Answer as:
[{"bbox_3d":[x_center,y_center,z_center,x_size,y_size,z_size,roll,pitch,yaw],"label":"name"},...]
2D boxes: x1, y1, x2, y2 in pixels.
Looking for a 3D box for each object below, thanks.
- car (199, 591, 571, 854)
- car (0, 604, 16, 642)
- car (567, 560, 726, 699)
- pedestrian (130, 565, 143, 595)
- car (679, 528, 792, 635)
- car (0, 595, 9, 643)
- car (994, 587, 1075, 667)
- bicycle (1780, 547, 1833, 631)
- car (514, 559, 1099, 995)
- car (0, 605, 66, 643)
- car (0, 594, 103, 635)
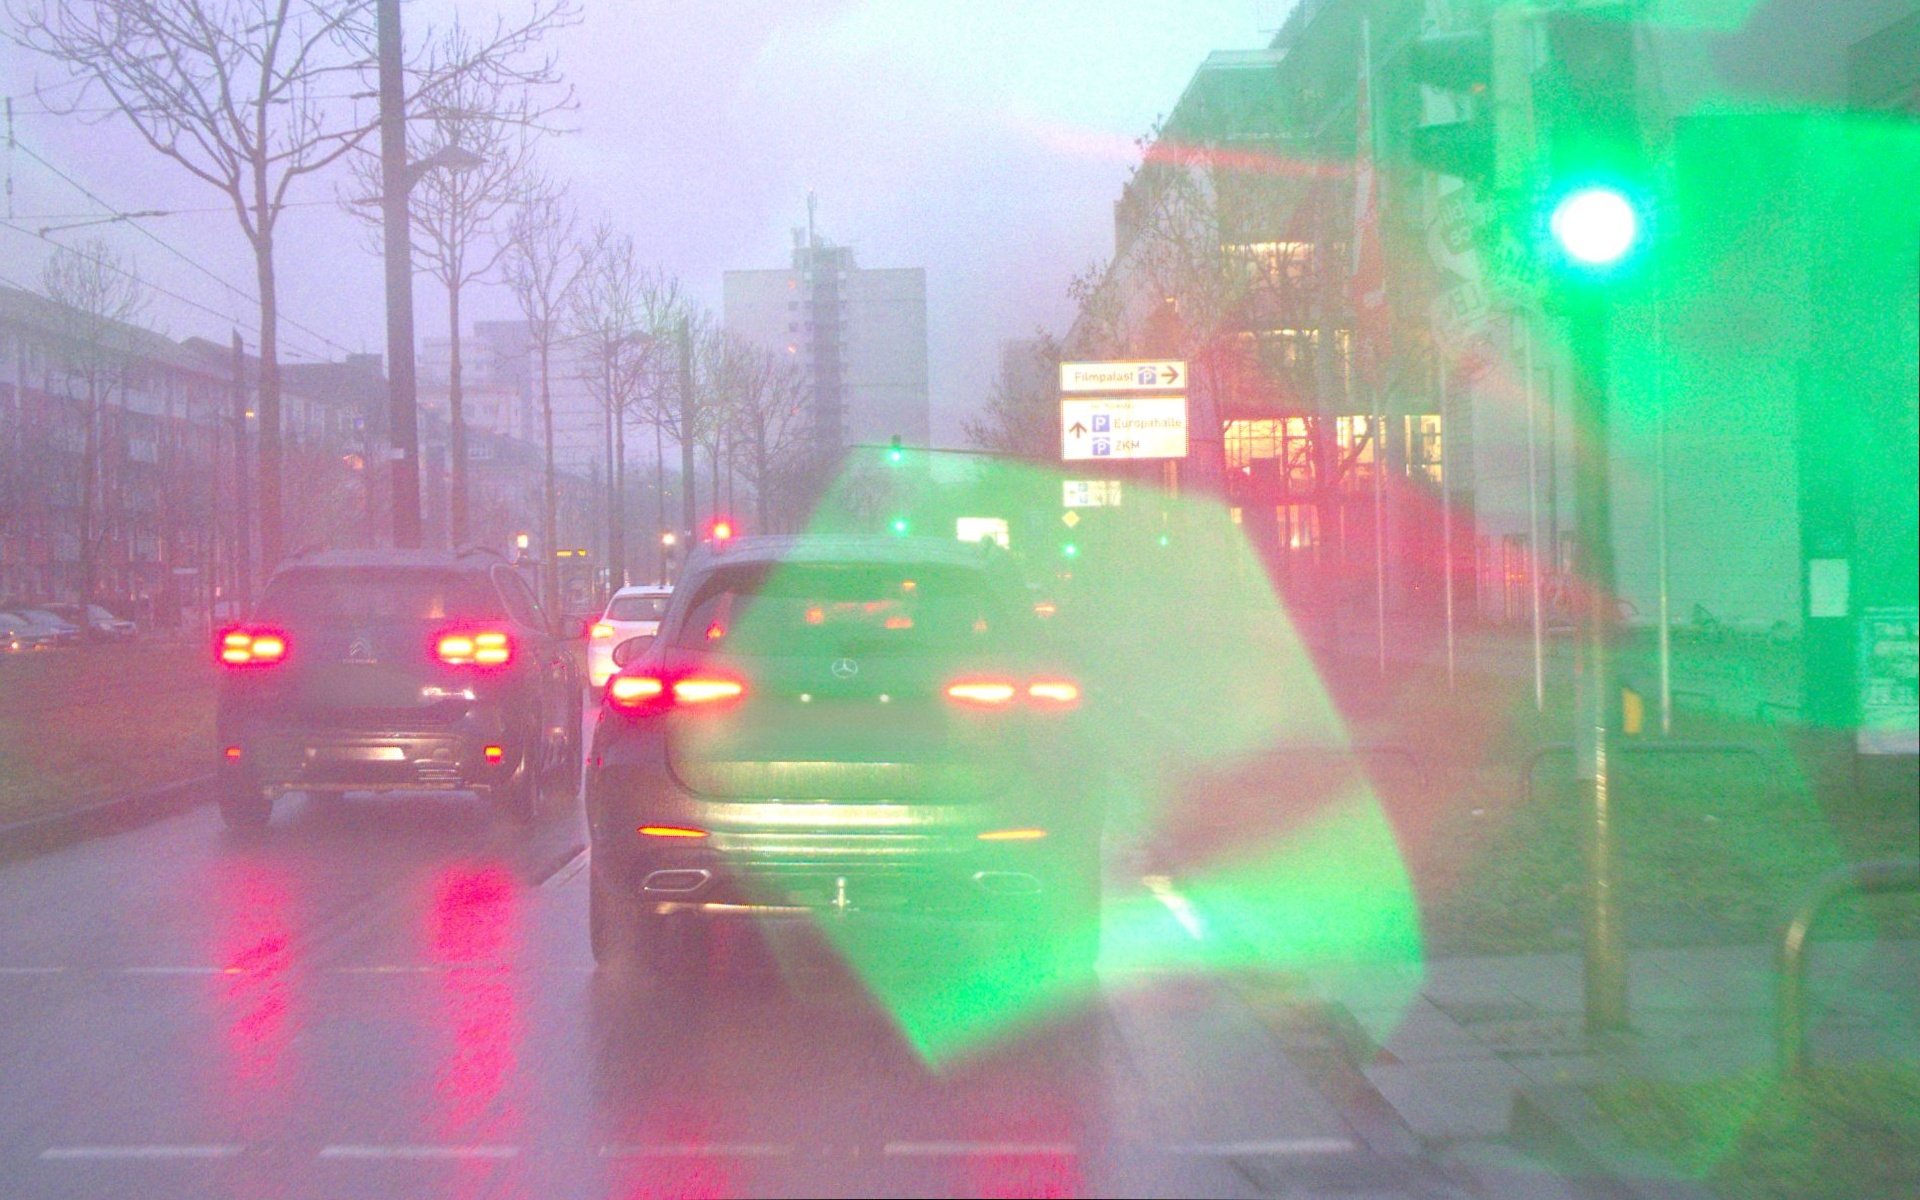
[{"bbox_3d":[-3.459,0.685,21.339,1.817,1.445,4.000,1,0,-3],"label":"car"},{"bbox_3d":[-29.959,0.667,103.225,3.040,1.143,1.395,1,0,30],"label":"car"},{"bbox_3d":[-3.832,0.336,42.478,1.689,1.630,3.474,1,0,-1],"label":"car"},{"bbox_3d":[-32.337,-0.795,135.011,0.345,1.180,0.434,1,0,-42],"label":"pedestrian"},{"bbox_3d":[-3.808,-0.300,58.751,1.662,1.753,3.568,1,0,0],"label":"car"},{"bbox_3d":[-29.825,0.524,100.357,4.119,1.373,1.769,1,0,36],"label":"car"},{"bbox_3d":[1.687,0.589,77.229,1.639,1.722,4.000,1,0,4],"label":"car"},{"bbox_3d":[13.124,-0.176,53.295,0.411,1.280,1.742,1,0,26],"label":"bicycle"},{"bbox_3d":[-0.566,0.606,13.669,1.993,1.478,3.700,1,0,-1],"label":"car"},{"bbox_3d":[-29.848,0.724,106.524,4.183,1.112,1.678,1,0,30],"label":"car"},{"bbox_3d":[-30.228,0.484,113.844,3.763,1.332,1.450,0,1,35],"label":"car"}]
